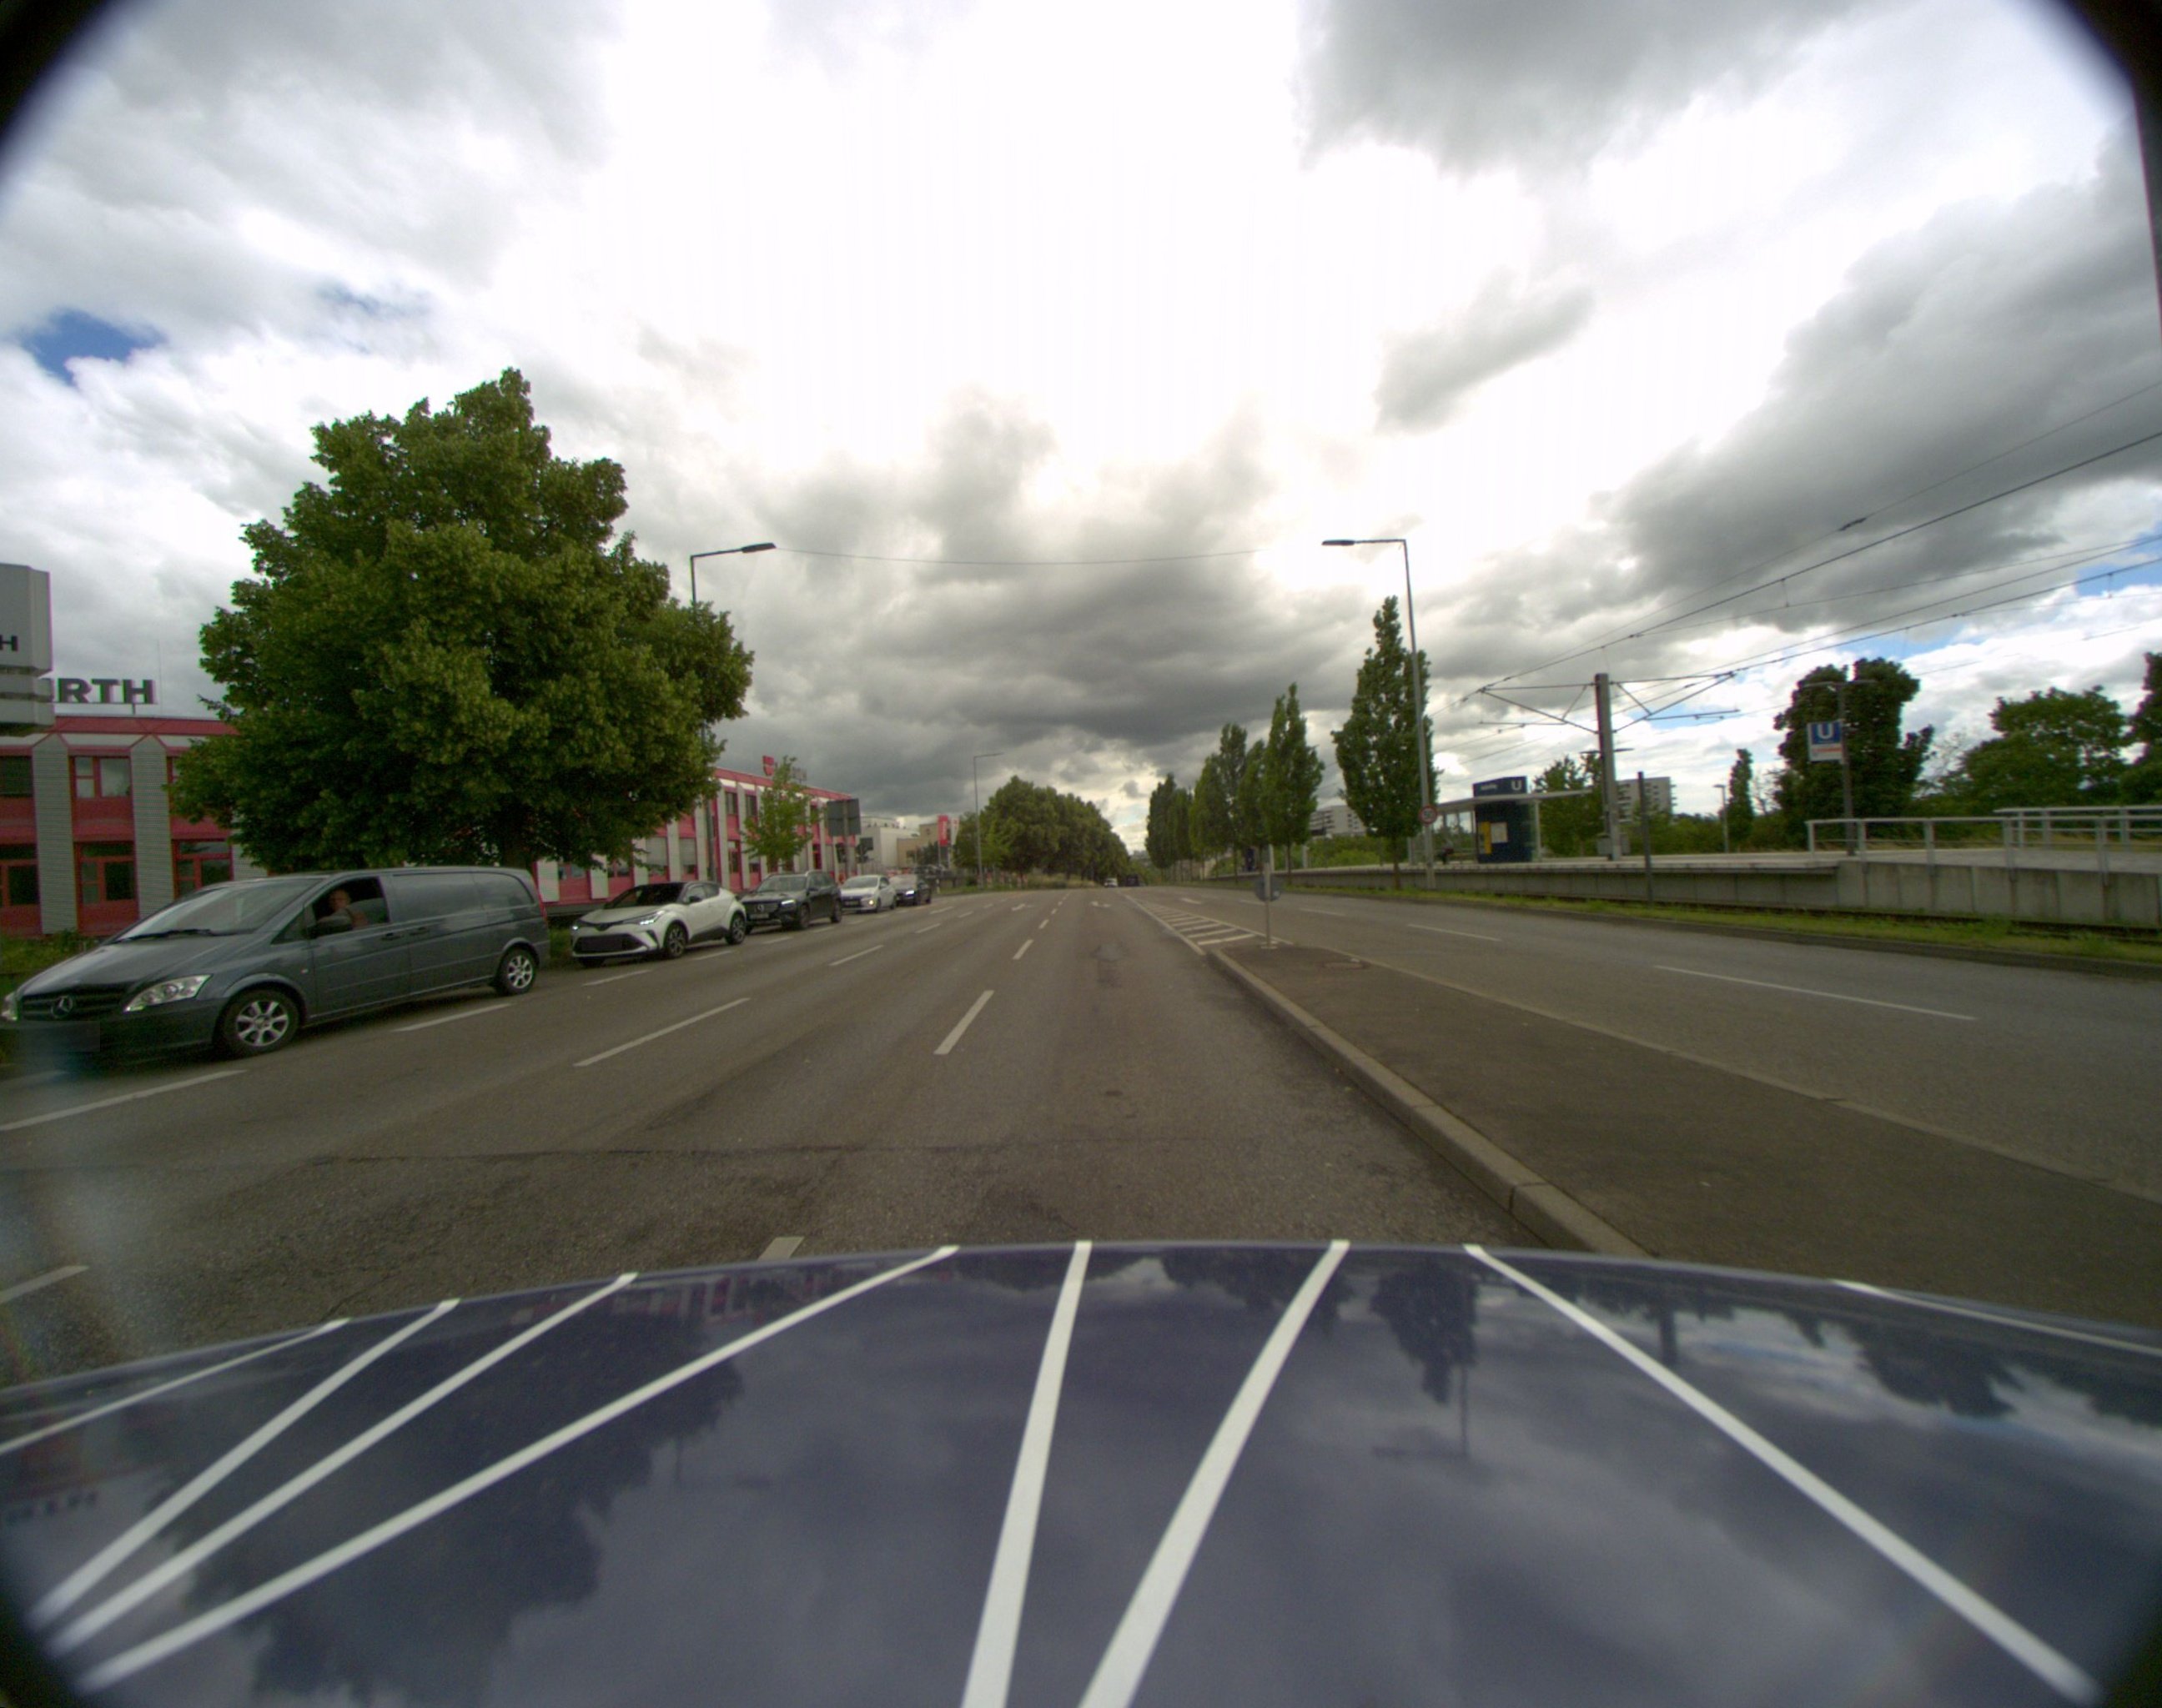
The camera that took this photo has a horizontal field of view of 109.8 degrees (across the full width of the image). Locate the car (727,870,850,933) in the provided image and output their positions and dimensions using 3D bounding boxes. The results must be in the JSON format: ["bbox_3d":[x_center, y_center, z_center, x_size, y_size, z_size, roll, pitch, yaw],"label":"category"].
[{"bbox_3d":[-8.375,1.321,22.218,1.785,1.639,4.427,-1,-2,1],"label":"car"}]

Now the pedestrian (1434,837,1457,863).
[{"bbox_3d":[17.620,-0.179,36.737,0.663,1.195,0.782,-2,0,-7],"label":"pedestrian"}]

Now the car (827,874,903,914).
[{"bbox_3d":[-8.473,1.548,30.110,1.785,1.434,3.836,-1,-2,1],"label":"car"}]

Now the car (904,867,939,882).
[{"bbox_3d":[-21.217,2.677,101.009,4.248,1.744,1.784,-2,0,2],"label":"car"}]

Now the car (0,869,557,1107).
[{"bbox_3d":[-8.835,1.221,8.838,1.920,1.823,4.722,-5,0,2],"label":"car"}]

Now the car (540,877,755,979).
[{"bbox_3d":[-8.564,1.375,15.543,1.785,1.526,4.305,-5,0,0],"label":"car"}]

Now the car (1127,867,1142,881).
[{"bbox_3d":[7.177,2.681,101.173,1.869,1.674,4.843,-2,-3,5],"label":"car"}]

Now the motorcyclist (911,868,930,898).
[{"bbox_3d":[-8.350,1.495,39.478,0.750,1.481,0.933,-4,-1,-3],"label":"motorcyclist"}]

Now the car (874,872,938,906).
[{"bbox_3d":[-8.021,1.584,35.210,1.785,1.437,4.530,-1,-2,1],"label":"car"}]

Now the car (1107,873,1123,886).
[{"bbox_3d":[5.358,4.001,119.790,1.998,1.791,4.842,-2,0,7],"label":"car"}]

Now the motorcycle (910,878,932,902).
[{"bbox_3d":[-8.323,1.855,39.516,0.750,1.140,1.943,-4,-1,-3],"label":"motorcycle"}]
